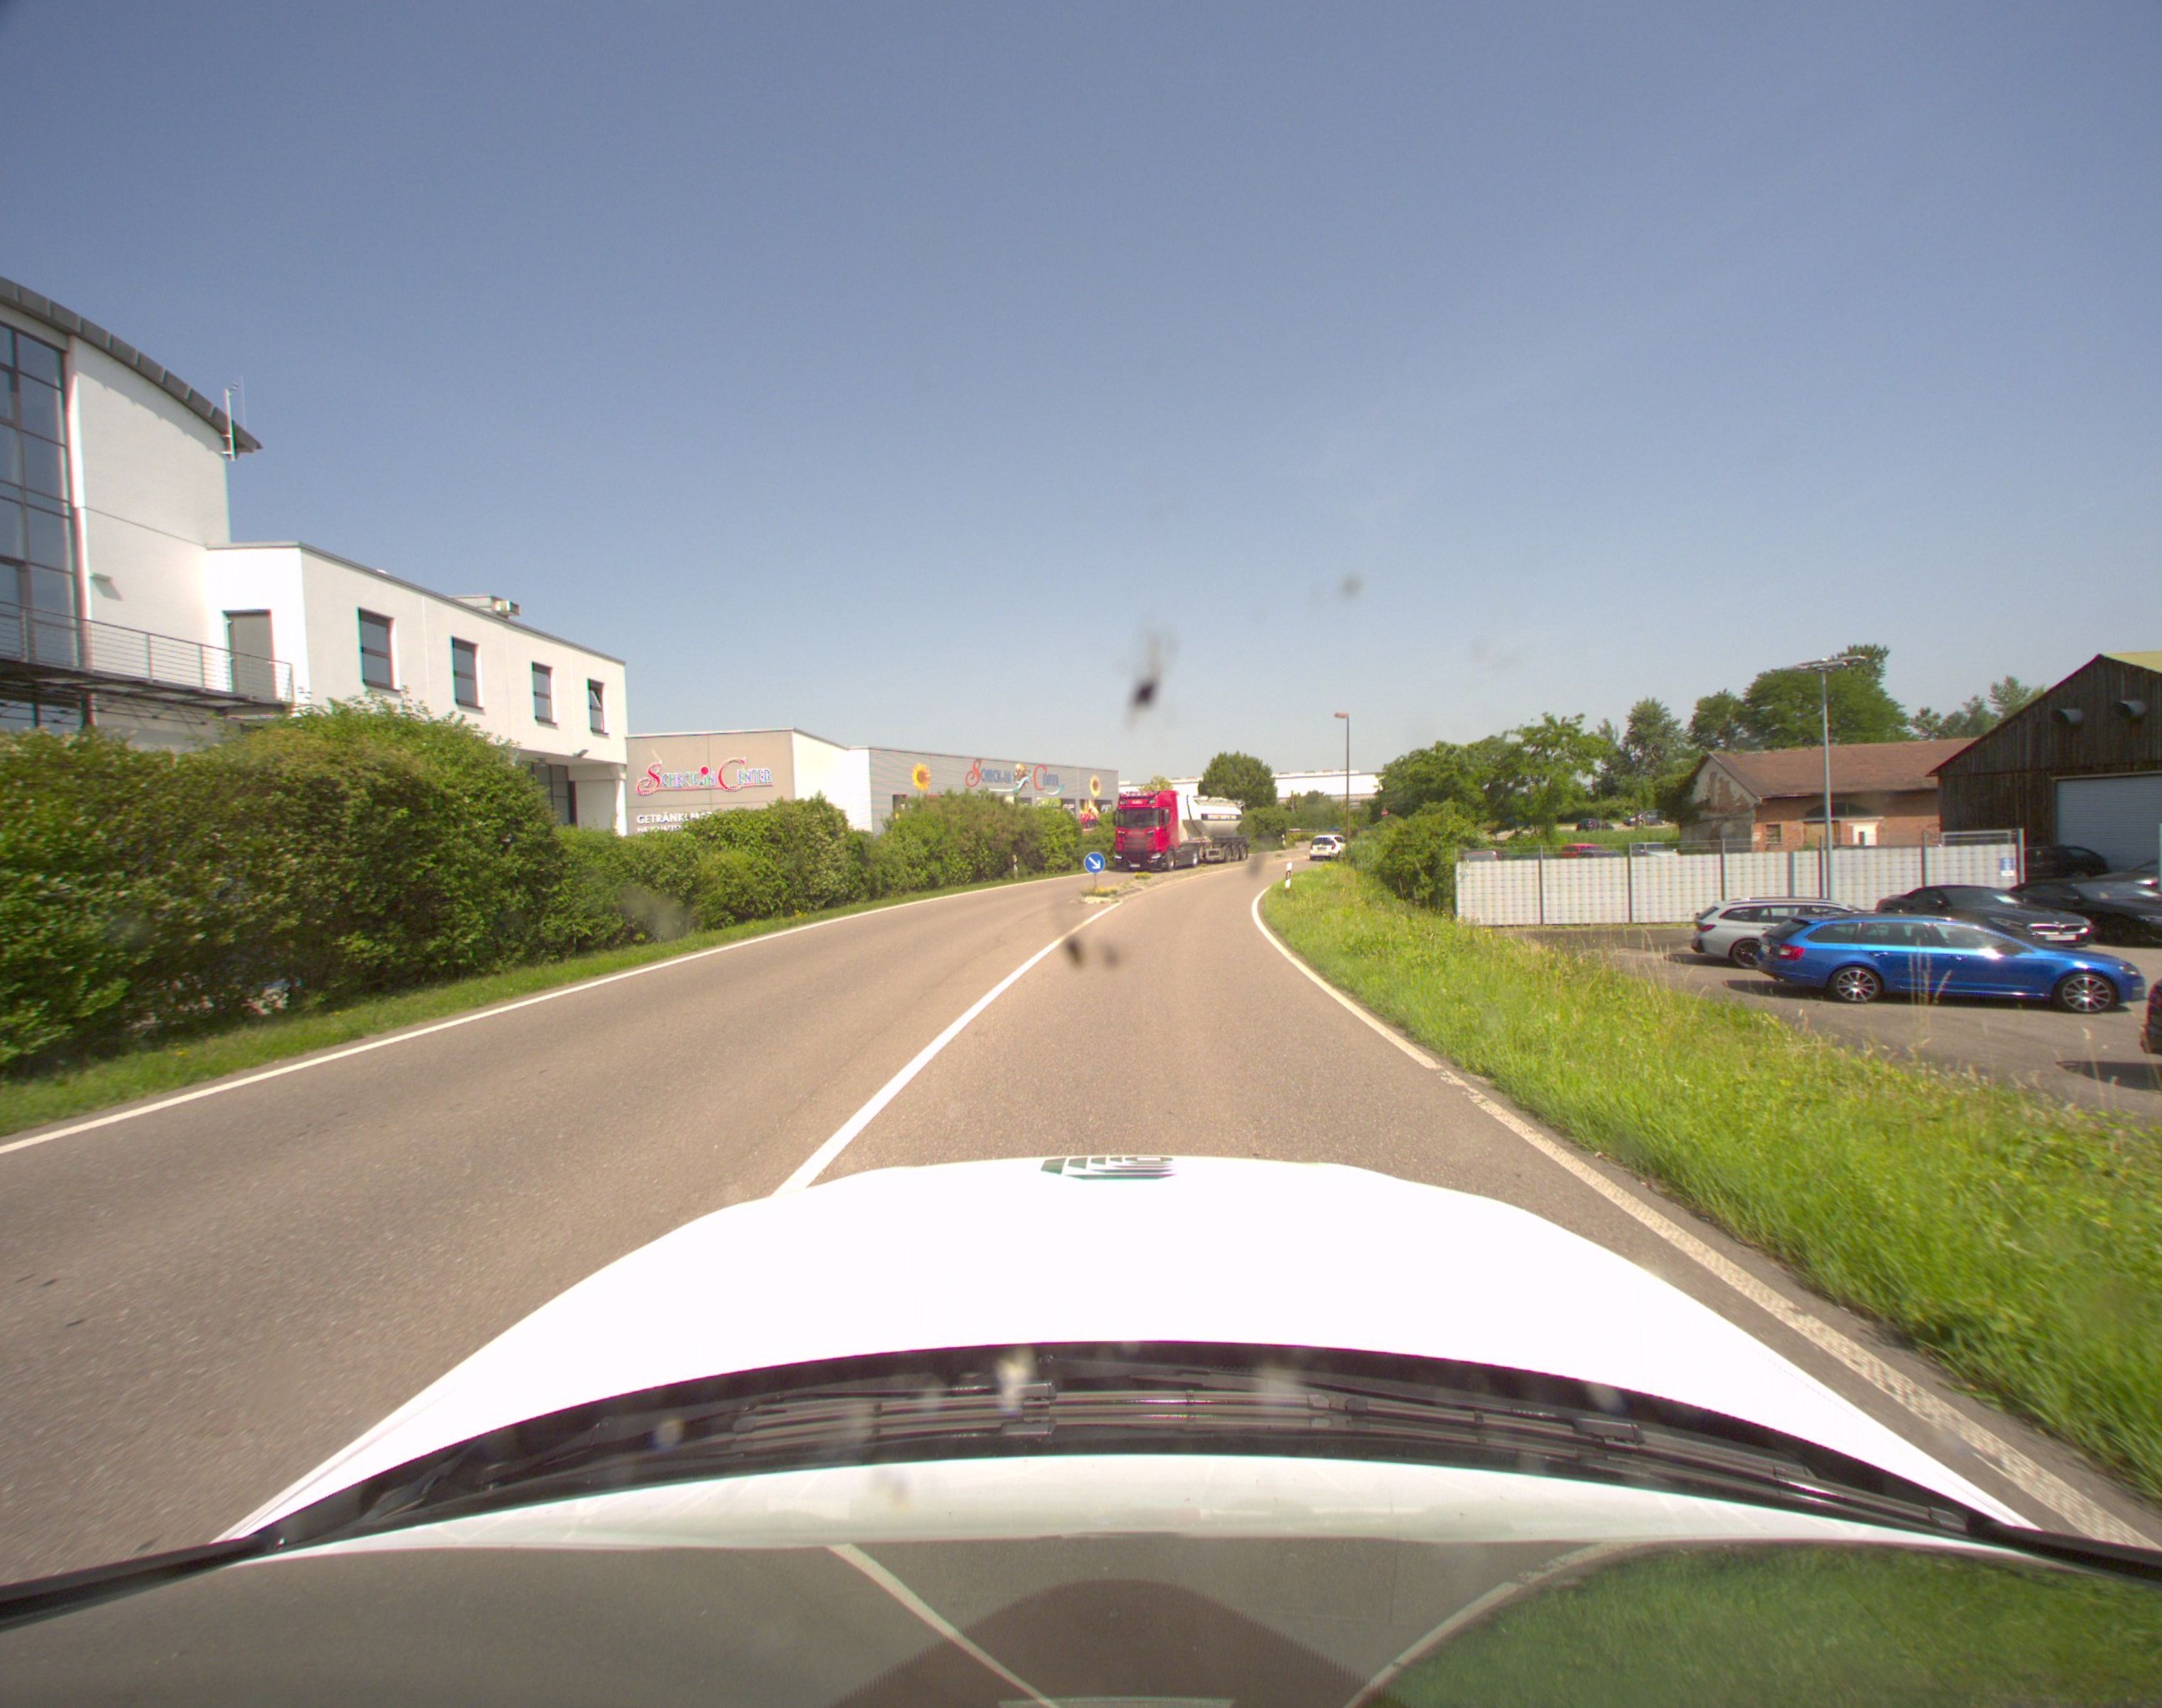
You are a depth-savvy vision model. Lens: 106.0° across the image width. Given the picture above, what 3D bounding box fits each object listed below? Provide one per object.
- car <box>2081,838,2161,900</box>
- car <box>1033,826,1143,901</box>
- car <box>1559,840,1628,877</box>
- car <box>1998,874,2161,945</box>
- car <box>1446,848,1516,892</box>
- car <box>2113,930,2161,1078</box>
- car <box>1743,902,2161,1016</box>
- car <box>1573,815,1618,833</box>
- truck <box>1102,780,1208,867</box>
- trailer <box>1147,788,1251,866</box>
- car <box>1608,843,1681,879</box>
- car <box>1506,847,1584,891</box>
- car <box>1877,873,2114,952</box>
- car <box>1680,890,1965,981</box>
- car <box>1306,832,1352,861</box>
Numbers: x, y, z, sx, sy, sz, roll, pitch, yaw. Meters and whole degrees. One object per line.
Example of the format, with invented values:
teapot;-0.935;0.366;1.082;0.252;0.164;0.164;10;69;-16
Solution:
car;32.217;0.404;23.671;3.712;1.750;1.680;-1;0;13
car;0.311;0.275;24.058;1.977;2.013;4.020;-1;0;19
car;29.545;0.264;47.125;1.981;2.013;4.011;-1;0;10
car;24.239;1.229;19.114;1.976;1.398;4.021;-1;0;21
car;19.505;0.748;39.899;1.981;2.013;4.011;-1;0;10
car;14.151;1.679;8.020;4.587;1.605;1.867;-1;0;24
car;14.608;1.691;14.104;4.585;1.498;1.868;-1;2;27
car;48.836;-2.854;77.296;3.798;1.603;1.773;0;0;-24
truck;3.949;-1.418;41.603;2.854;4.030;6.763;-1;0;29
trailer;6.973;-1.411;46.926;2.852;4.030;8.750;-1;0;30
car;32.938;0.390;47.731;1.981;2.013;4.011;-1;0;10
car;22.358;0.689;39.431;1.981;2.013;4.011;-1;0;10
car;21.549;1.294;19.511;1.834;1.534;4.668;-1;0;21
car;15.560;1.633;17.427;4.317;1.502;1.854;-1;1;39
car;15.420;-0.437;50.472;1.764;1.603;3.917;5;1;30
